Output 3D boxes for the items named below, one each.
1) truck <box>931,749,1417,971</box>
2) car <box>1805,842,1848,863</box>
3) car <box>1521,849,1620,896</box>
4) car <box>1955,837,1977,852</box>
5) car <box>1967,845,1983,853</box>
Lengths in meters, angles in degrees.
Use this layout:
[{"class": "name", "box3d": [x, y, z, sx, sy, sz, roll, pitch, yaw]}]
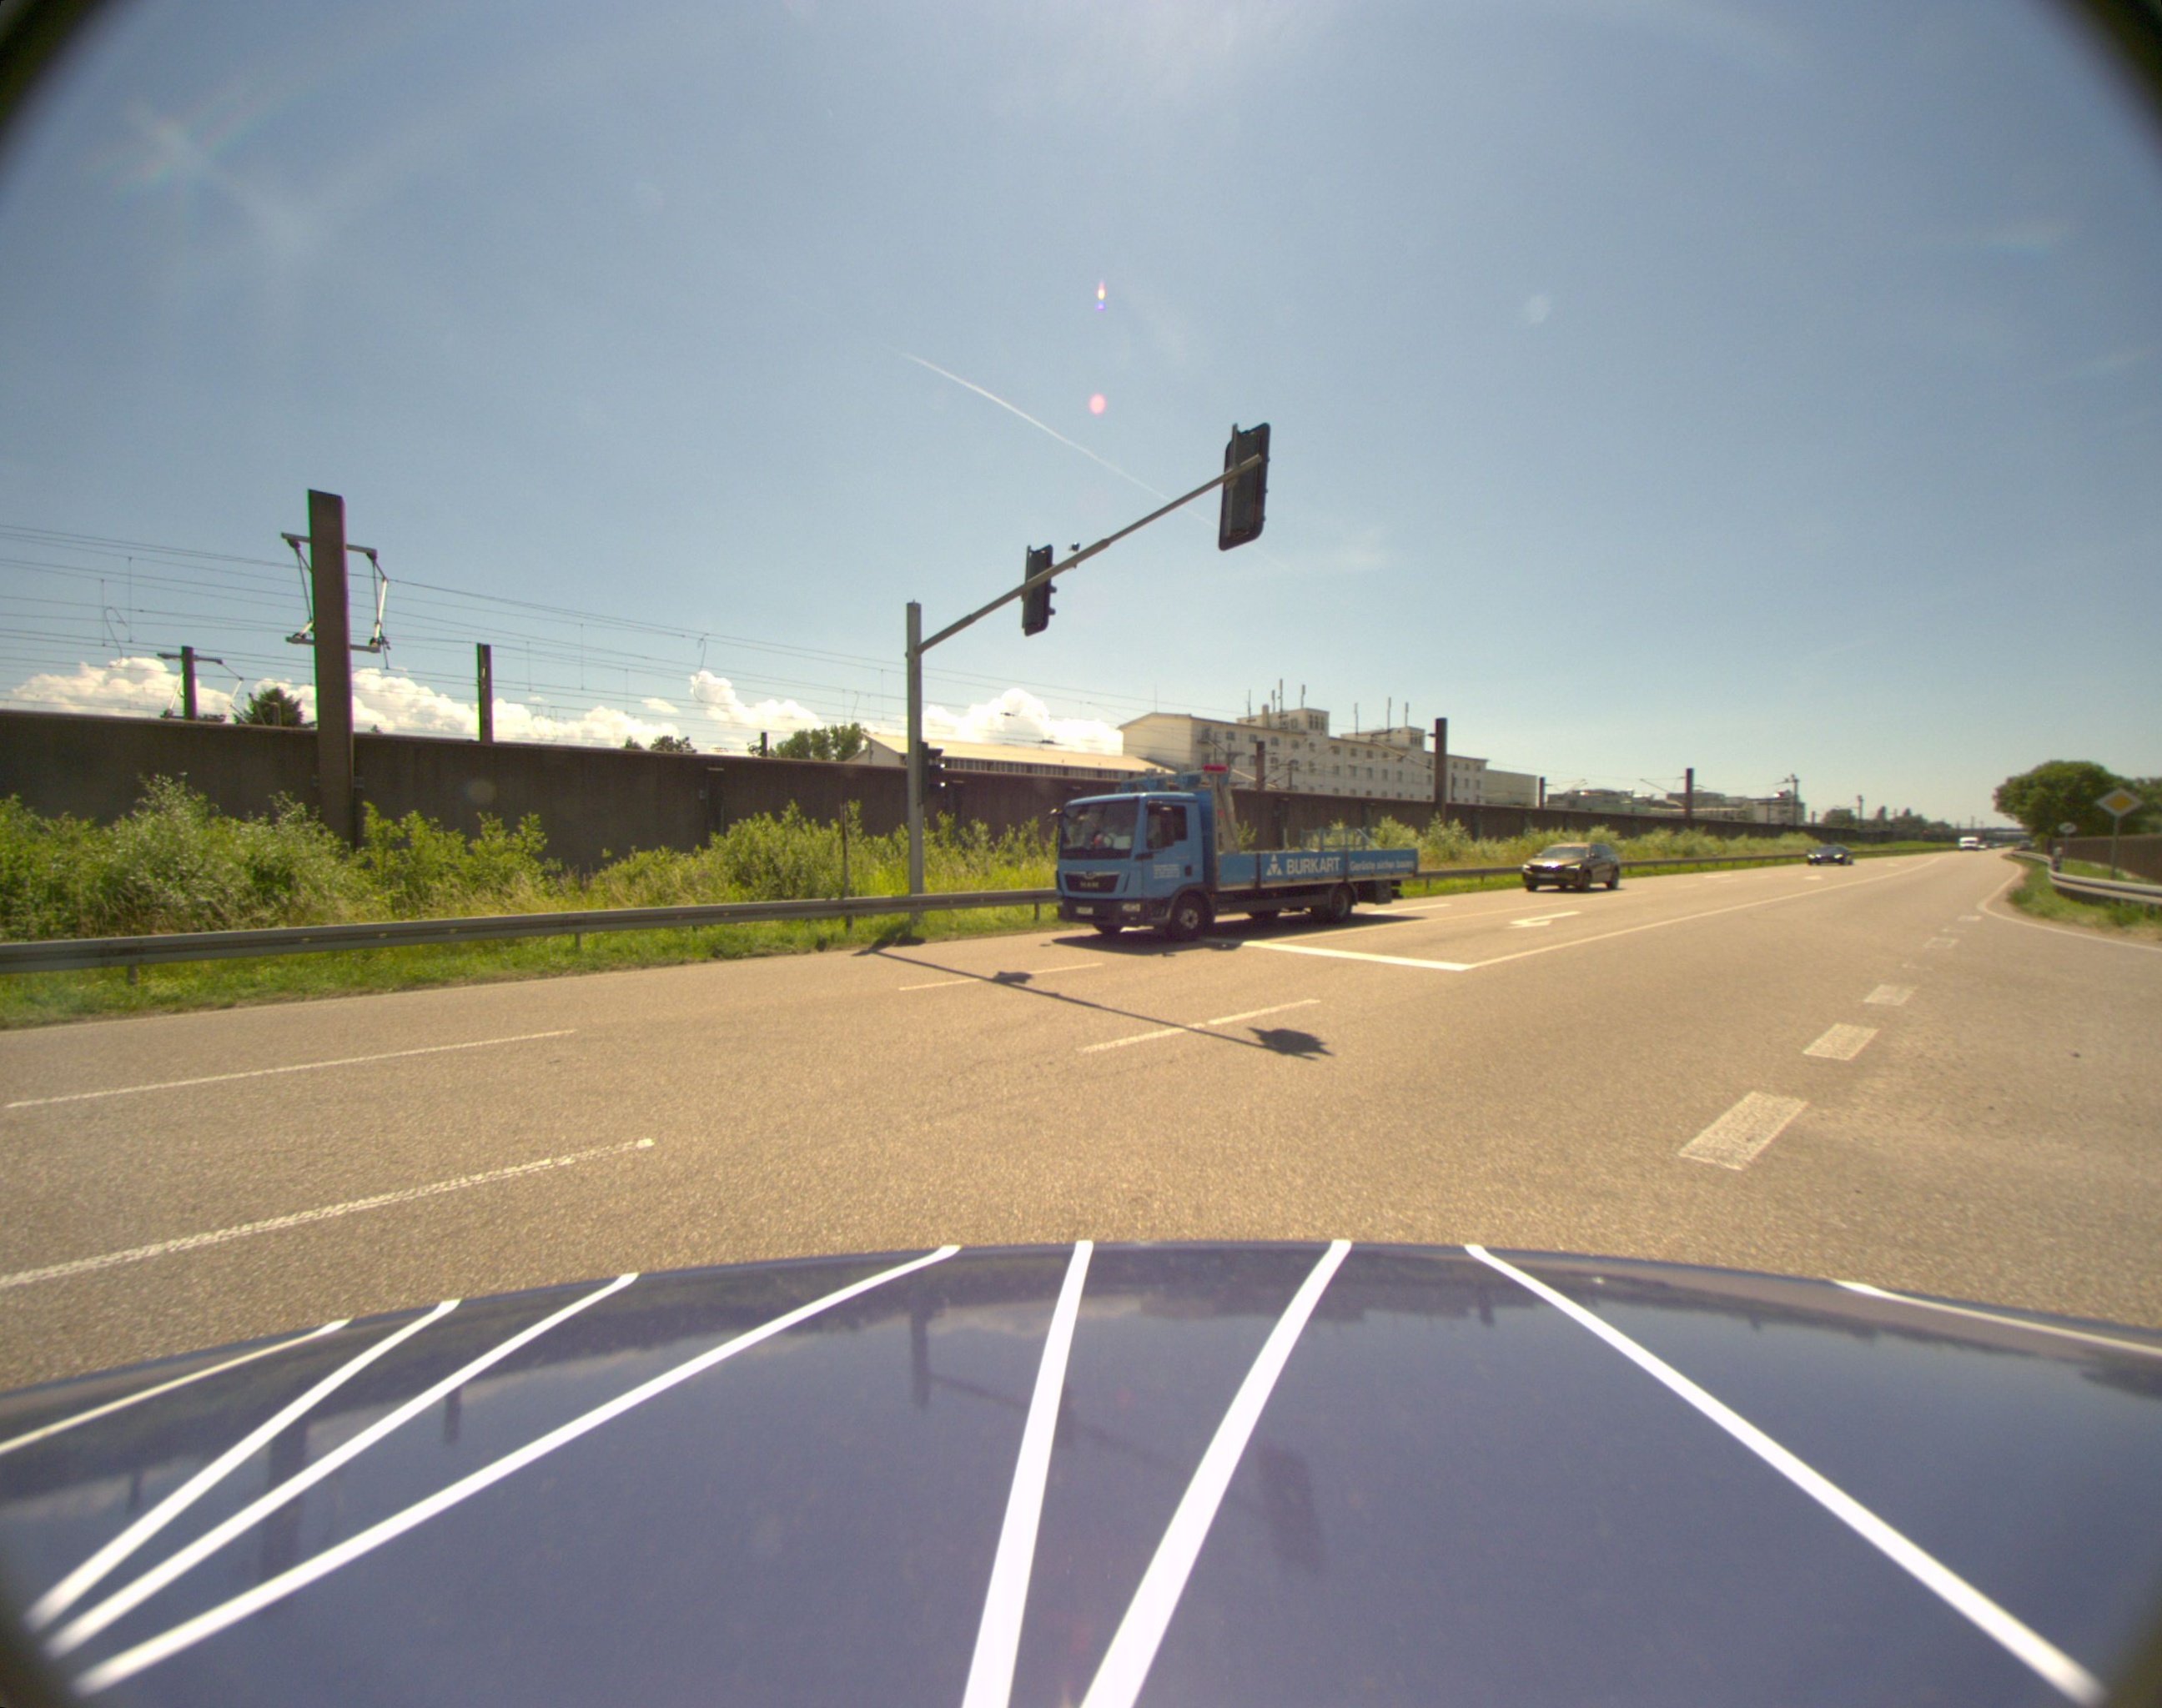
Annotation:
[{"class": "truck", "box3d": [2.542, -0.004, 14.710, 10.676, 3.024, 2.611, -1, 2, -39]}, {"class": "car", "box3d": [53.831, -0.140, 54.863, 3.897, 1.465, 1.726, -1, 1, -38]}, {"class": "car", "box3d": [17.028, 0.591, 26.357, 4.184, 1.465, 1.726, -1, 2, -40]}, {"class": "car", "box3d": [155.300, -1.684, 133.290, 5.233, 2.545, 2.200, -1, 2, -38]}, {"class": "car", "box3d": [173.868, -1.047, 147.768, 4.365, 1.465, 1.726, -1, 1, -38]}]
